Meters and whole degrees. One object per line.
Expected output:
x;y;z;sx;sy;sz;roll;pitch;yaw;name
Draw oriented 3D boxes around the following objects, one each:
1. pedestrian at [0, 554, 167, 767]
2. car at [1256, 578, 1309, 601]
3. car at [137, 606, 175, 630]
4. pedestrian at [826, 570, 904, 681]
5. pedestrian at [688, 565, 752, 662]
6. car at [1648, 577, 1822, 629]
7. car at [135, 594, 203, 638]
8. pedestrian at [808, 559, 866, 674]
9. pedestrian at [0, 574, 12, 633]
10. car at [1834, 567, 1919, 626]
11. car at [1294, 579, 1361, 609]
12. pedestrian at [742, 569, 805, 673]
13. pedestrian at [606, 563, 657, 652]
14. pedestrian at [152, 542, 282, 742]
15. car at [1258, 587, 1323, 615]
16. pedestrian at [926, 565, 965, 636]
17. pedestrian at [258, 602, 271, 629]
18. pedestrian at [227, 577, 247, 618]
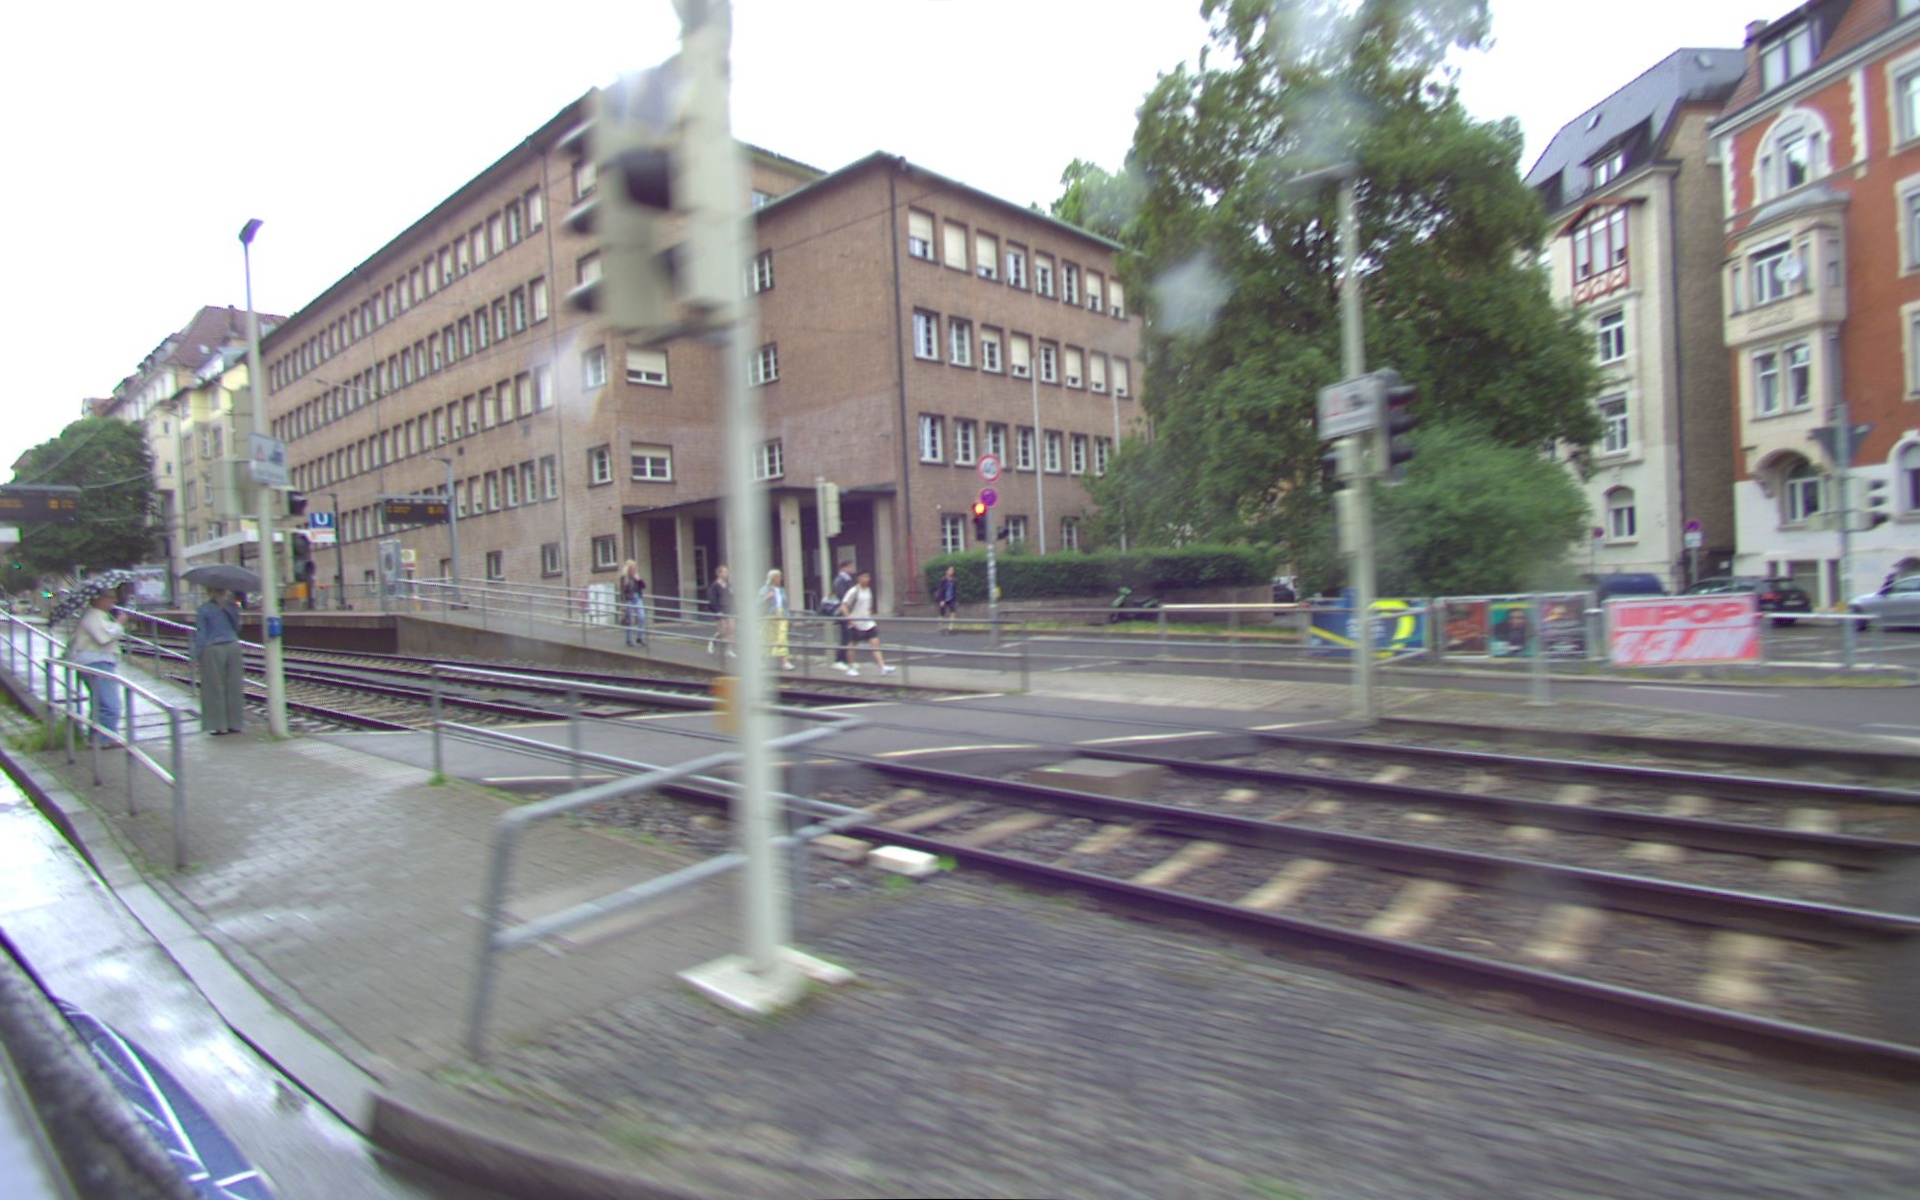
-8.919;0.577;10.275;0.915;2.028;0.948;-2;1;-2;pedestrian
20.436;-0.660;64.298;1.715;1.413;4.006;-1;0;-6;car
-55.348;1.232;69.618;3.112;1.477;1.626;-1;1;44;car
-1.426;0.354;15.242;0.956;1.594;0.685;1;3;42;pedestrian
-4.400;0.223;18.592;0.882;1.708;0.736;3;5;41;pedestrian
22.963;0.071;30.202;1.715;1.413;4.149;-1;0;-6;car
-38.163;0.773;48.773;4.000;2.029;1.972;-1;0;43;car
-2.020;0.270;16.664;0.509;1.832;0.793;-3;-1;25;pedestrian
-29.706;0.122;31.168;0.710;1.788;0.637;-1;2;42;pedestrian
23.559;-0.097;24.016;1.715;1.413;4.174;-1;0;-6;car
21.091;-0.359;58.268;1.969;1.643;4.006;-1;0;-7;car
-3.122;0.334;16.963;0.641;1.659;0.736;1;4;42;pedestrian
-6.542;0.126;20.151;0.688;1.710;0.658;2;5;39;pedestrian
-8.029;0.417;10.936;0.947;2.028;0.887;-1;2;42;pedestrian
17.236;0.040;52.936;1.715;1.413;4.006;-1;0;-6;car
-0.335;0.015;24.217;0.688;1.688;0.597;-1;0;40;pedestrian
-42.792;0.967;62.281;0.542;1.666;0.542;-1;0;43;pedestrian
-30.535;-0.094;42.763;0.491;1.722;0.581;-1;0;41;pedestrian
